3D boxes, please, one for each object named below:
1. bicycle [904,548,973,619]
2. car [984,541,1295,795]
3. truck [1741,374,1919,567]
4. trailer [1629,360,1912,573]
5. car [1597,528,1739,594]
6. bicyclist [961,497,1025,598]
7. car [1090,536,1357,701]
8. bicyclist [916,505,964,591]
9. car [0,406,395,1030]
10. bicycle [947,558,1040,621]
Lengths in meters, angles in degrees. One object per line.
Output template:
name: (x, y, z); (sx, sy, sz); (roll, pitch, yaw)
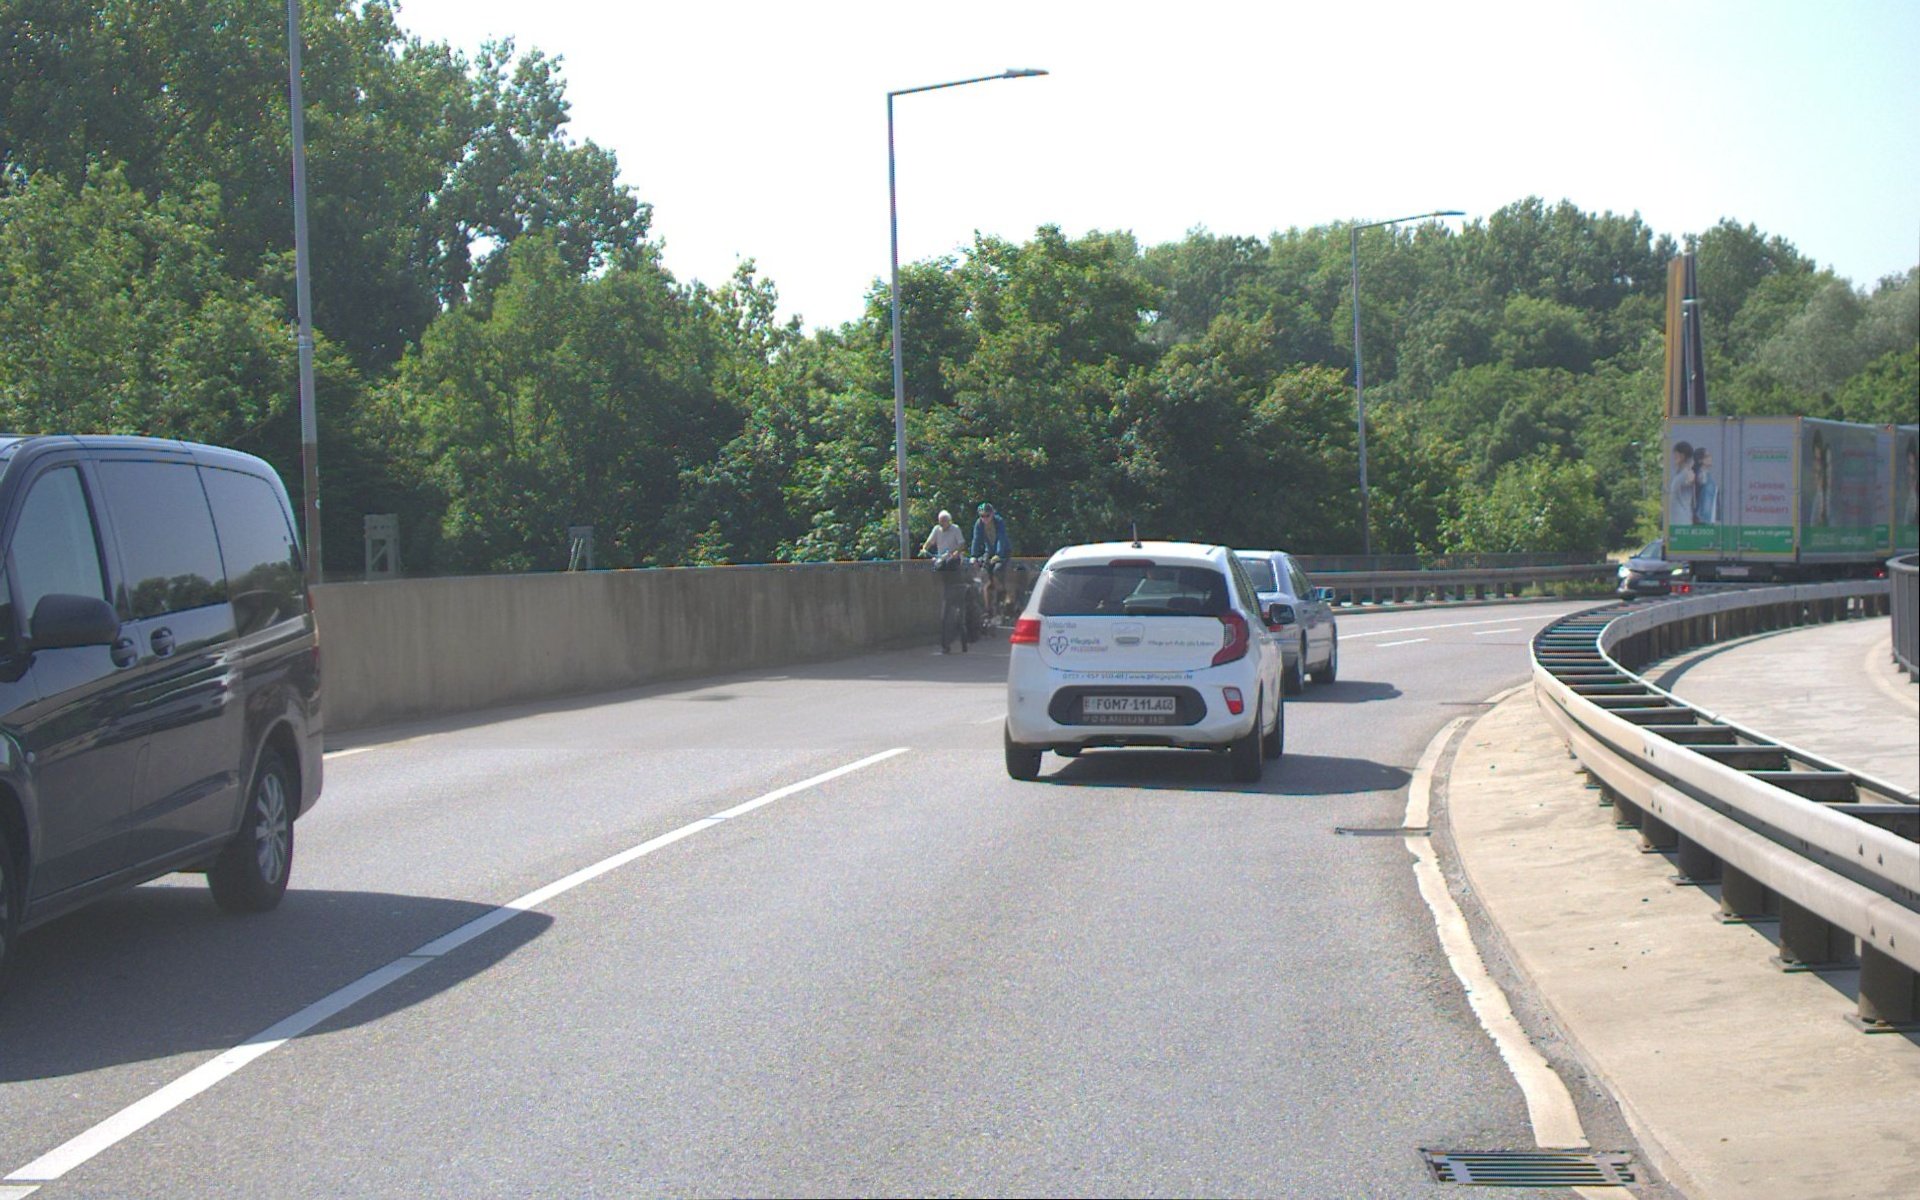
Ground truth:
bicycle: (-0.326, -0.262, 53.559); (0.574, 1.043, 1.709); (-2, 2, 16)
car: (1.273, 0.391, 22.798); (1.702, 1.489, 3.999); (2, 1, 8)
truck: (19.249, -2.712, 72.418); (3.265, 3.745, 8.358); (3, 3, 28)
trailer: (15.532, -2.519, 65.423); (3.229, 3.745, 7.813); (3, 3, 28)
car: (16.586, -0.929, 80.358); (1.821, 1.425, 4.856); (0, 2, 30)
bicyclist: (0.504, -0.801, 52.126); (0.661, 1.491, 1.015); (1, 3, 21)
car: (2.732, 0.124, 34.541); (1.940, 1.481, 4.897); (1, 2, 13)
bicyclist: (-0.306, -0.810, 53.469); (0.488, 1.324, 0.946); (1, 0, 15)
car: (-3.782, 0.312, 12.537); (2.075, 1.882, 5.914); (1, 1, 4)
bicycle: (0.516, -0.167, 52.102); (0.929, 0.888, 1.966); (1, 2, 16)
